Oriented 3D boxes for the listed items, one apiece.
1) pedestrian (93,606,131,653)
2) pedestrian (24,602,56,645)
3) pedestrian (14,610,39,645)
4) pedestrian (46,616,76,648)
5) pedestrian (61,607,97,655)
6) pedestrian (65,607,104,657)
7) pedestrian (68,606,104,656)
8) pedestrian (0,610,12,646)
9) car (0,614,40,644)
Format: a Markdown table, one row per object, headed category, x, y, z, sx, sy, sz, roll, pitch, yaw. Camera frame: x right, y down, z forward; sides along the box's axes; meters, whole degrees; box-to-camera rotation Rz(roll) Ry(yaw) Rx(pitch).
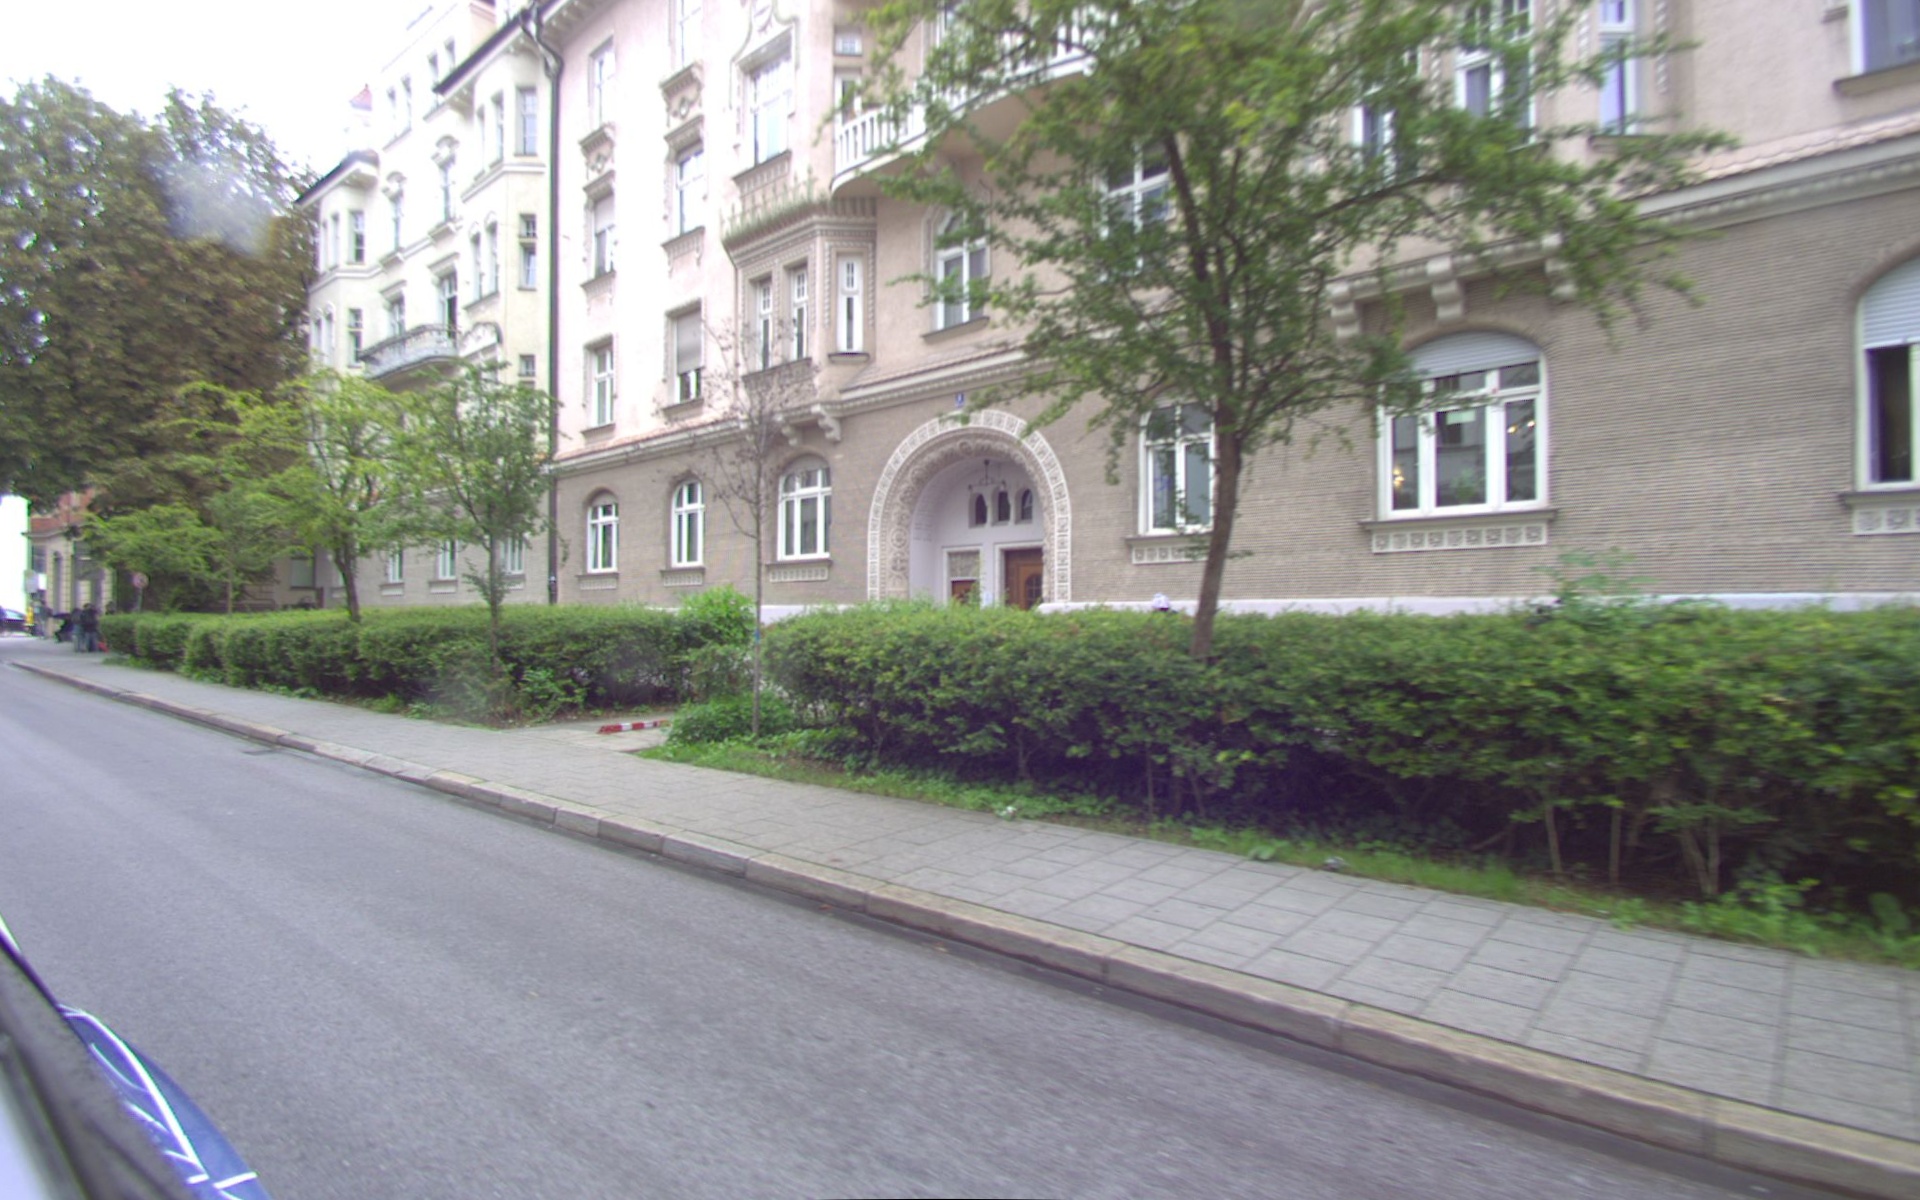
| category | x | y | z | sx | sy | sz | roll | pitch | yaw |
| --- | --- | --- | --- | --- | --- | --- | --- | --- | --- |
| pedestrian | -31.850 | 1.110 | 38.032 | 0.773 | 1.758 | 0.878 | 1 | -2 | -17 |
| pedestrian | -44.205 | 1.116 | 48.651 | 0.769 | 2.029 | 0.831 | 0 | -1 | -2 |
| pedestrian | -54.202 | 1.580 | 58.794 | 0.938 | 2.029 | 1.399 | 1 | -2 | -39 |
| pedestrian | -38.533 | 1.380 | 43.359 | 0.753 | 1.351 | 0.820 | -1 | -2 | 39 |
| pedestrian | -32.385 | 1.136 | 37.206 | 0.910 | 1.758 | 0.864 | -1 | -2 | 41 |
| pedestrian | -31.131 | 1.131 | 35.983 | 0.846 | 1.758 | 0.898 | -1 | -2 | 41 |
| pedestrian | -31.670 | 1.124 | 36.674 | 0.786 | 1.758 | 0.864 | -1 | -2 | 41 |
| pedestrian | -54.794 | 1.580 | 57.688 | 0.938 | 2.029 | 1.399 | 1 | -2 | -39 |
| car | -58.282 | 1.722 | 60.645 | 1.870 | 1.761 | 4.403 | -1 | -2 | 40 |
